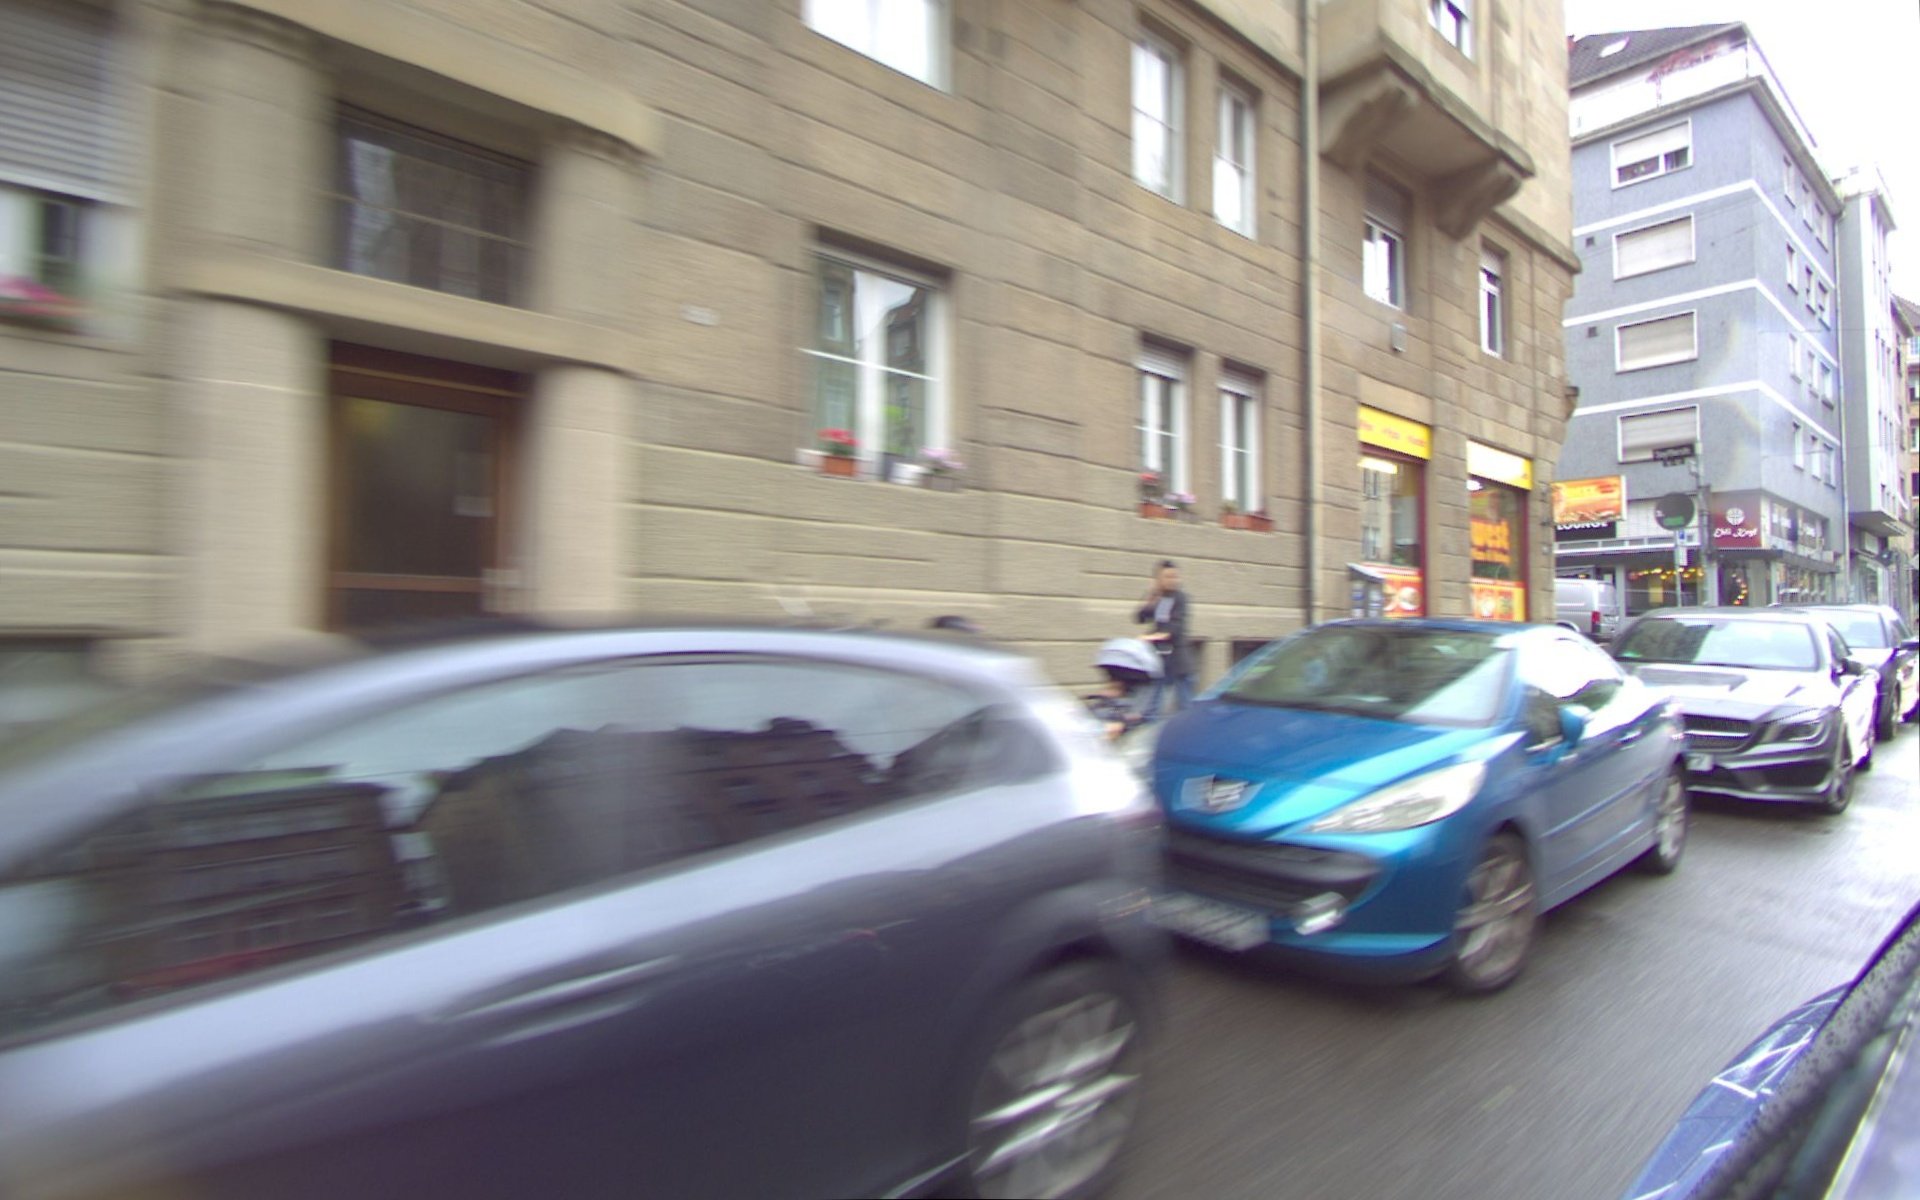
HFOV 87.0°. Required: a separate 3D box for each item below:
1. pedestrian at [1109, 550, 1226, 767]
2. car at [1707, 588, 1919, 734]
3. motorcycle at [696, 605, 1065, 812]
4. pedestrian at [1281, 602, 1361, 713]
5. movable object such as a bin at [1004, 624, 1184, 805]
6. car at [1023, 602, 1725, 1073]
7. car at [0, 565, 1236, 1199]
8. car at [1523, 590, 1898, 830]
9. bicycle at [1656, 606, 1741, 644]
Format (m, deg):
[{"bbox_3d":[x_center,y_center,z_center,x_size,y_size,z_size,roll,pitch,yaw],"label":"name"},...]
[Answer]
[{"bbox_3d":[1.580,0.418,7.714,0.697,1.555,0.562,0,-1,-40],"label":"pedestrian"},{"bbox_3d":[10.562,0.619,12.203,3.723,1.462,1.674,0,1,-40],"label":"car"},{"bbox_3d":[-0.448,0.644,7.117,2.697,1.214,0.706,0,-1,-41],"label":"motorcycle"},{"bbox_3d":[3.601,0.554,10.090,0.616,1.063,0.511,0,-1,-40],"label":"pedestrian"},{"bbox_3d":[0.938,0.738,7.018,1.104,1.117,0.666,0,-1,-41],"label":"movable object such as a bin"},{"bbox_3d":[2.296,0.722,5.041,3.949,1.416,1.709,0,0,-42],"label":"car"},{"bbox_3d":[-1.371,0.704,1.912,4.013,1.481,1.790,0,0,-42],"label":"car"},{"bbox_3d":[6.291,0.656,8.258,4.411,1.404,1.756,0,1,-44],"label":"car"},{"bbox_3d":[19.533,0.651,26.800,0.524,0.985,1.752,0,-1,-39],"label":"bicycle"}]
